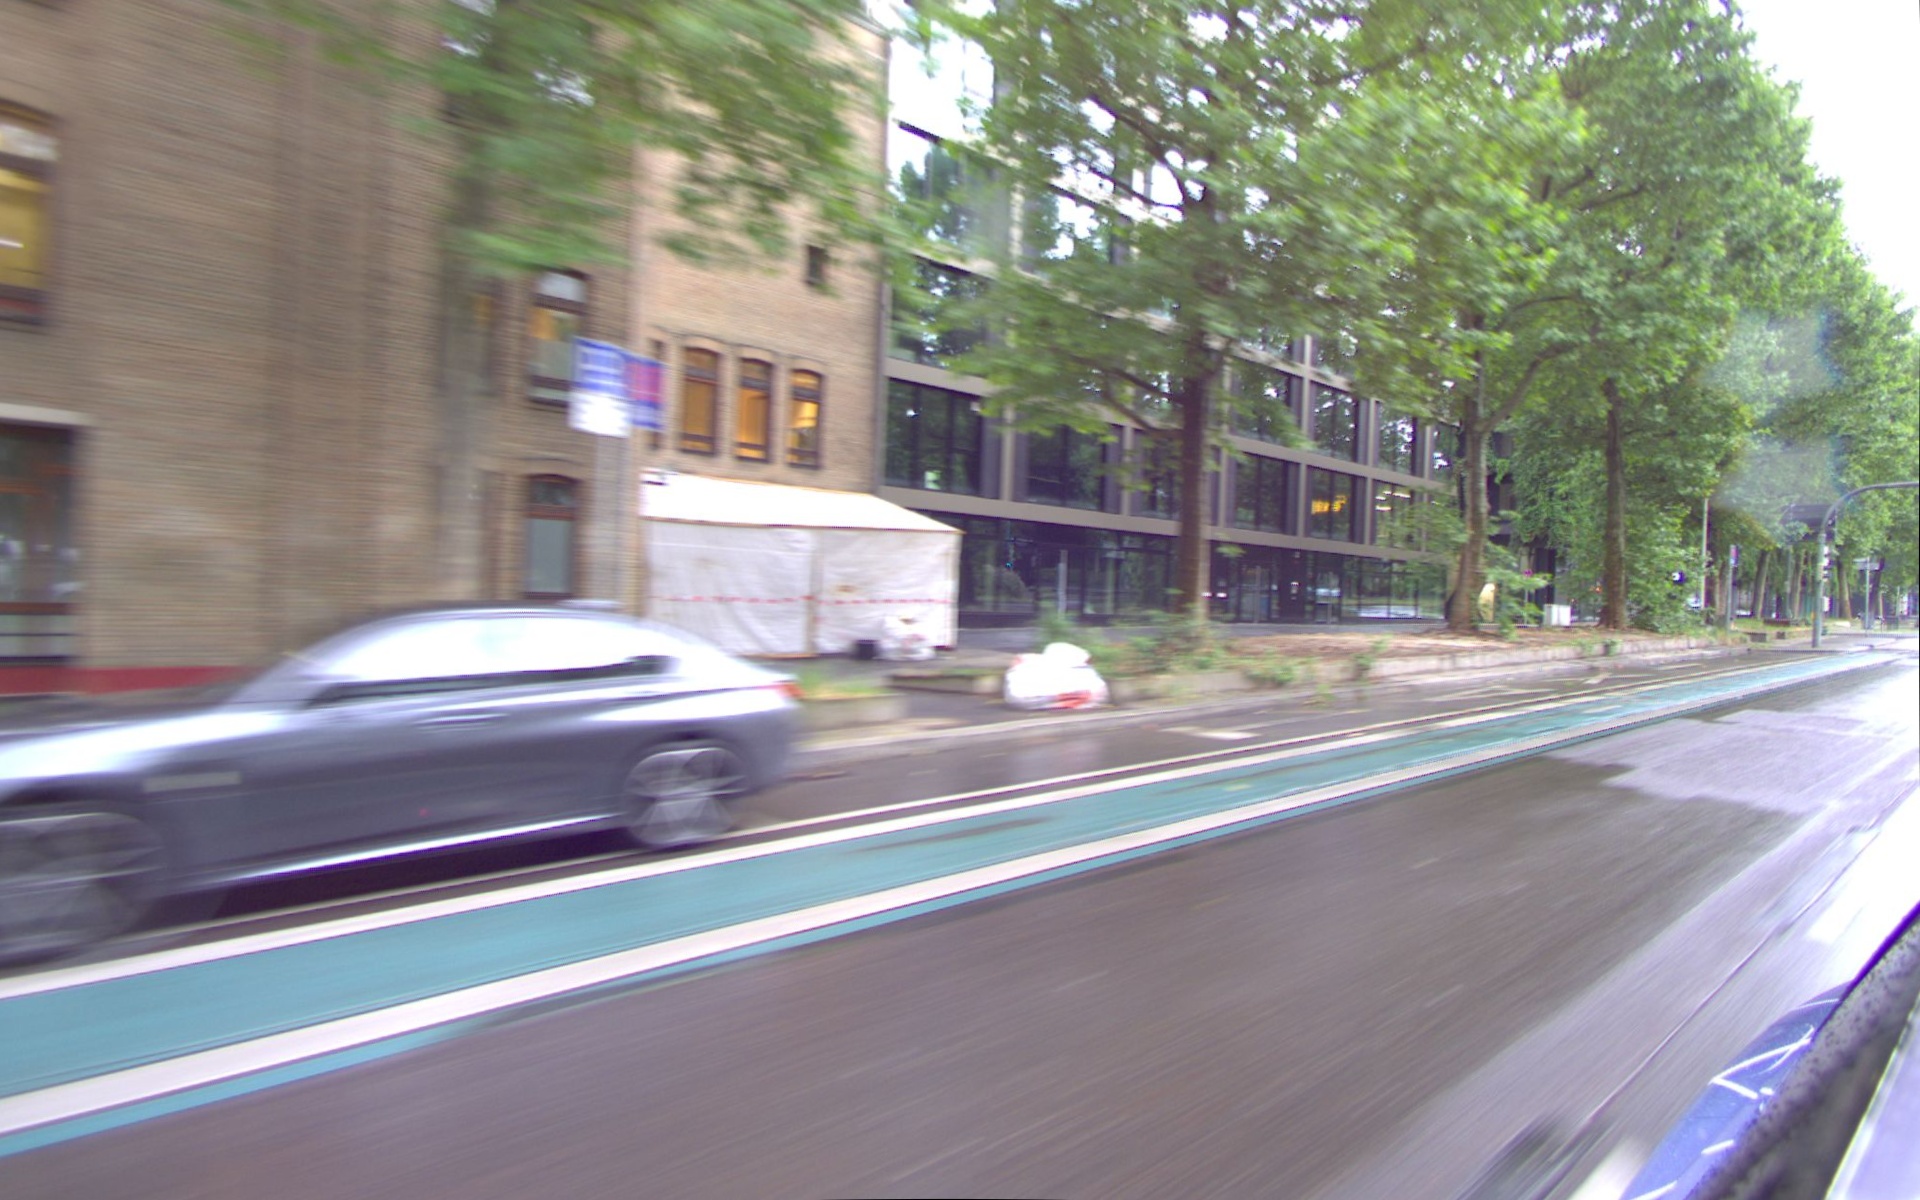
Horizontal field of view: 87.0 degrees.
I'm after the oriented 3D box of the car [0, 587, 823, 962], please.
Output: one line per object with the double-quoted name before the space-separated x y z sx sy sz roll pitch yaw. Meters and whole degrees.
"car" -3.123 0.666 5.611 4.507 1.451 1.745 0 0 -42
